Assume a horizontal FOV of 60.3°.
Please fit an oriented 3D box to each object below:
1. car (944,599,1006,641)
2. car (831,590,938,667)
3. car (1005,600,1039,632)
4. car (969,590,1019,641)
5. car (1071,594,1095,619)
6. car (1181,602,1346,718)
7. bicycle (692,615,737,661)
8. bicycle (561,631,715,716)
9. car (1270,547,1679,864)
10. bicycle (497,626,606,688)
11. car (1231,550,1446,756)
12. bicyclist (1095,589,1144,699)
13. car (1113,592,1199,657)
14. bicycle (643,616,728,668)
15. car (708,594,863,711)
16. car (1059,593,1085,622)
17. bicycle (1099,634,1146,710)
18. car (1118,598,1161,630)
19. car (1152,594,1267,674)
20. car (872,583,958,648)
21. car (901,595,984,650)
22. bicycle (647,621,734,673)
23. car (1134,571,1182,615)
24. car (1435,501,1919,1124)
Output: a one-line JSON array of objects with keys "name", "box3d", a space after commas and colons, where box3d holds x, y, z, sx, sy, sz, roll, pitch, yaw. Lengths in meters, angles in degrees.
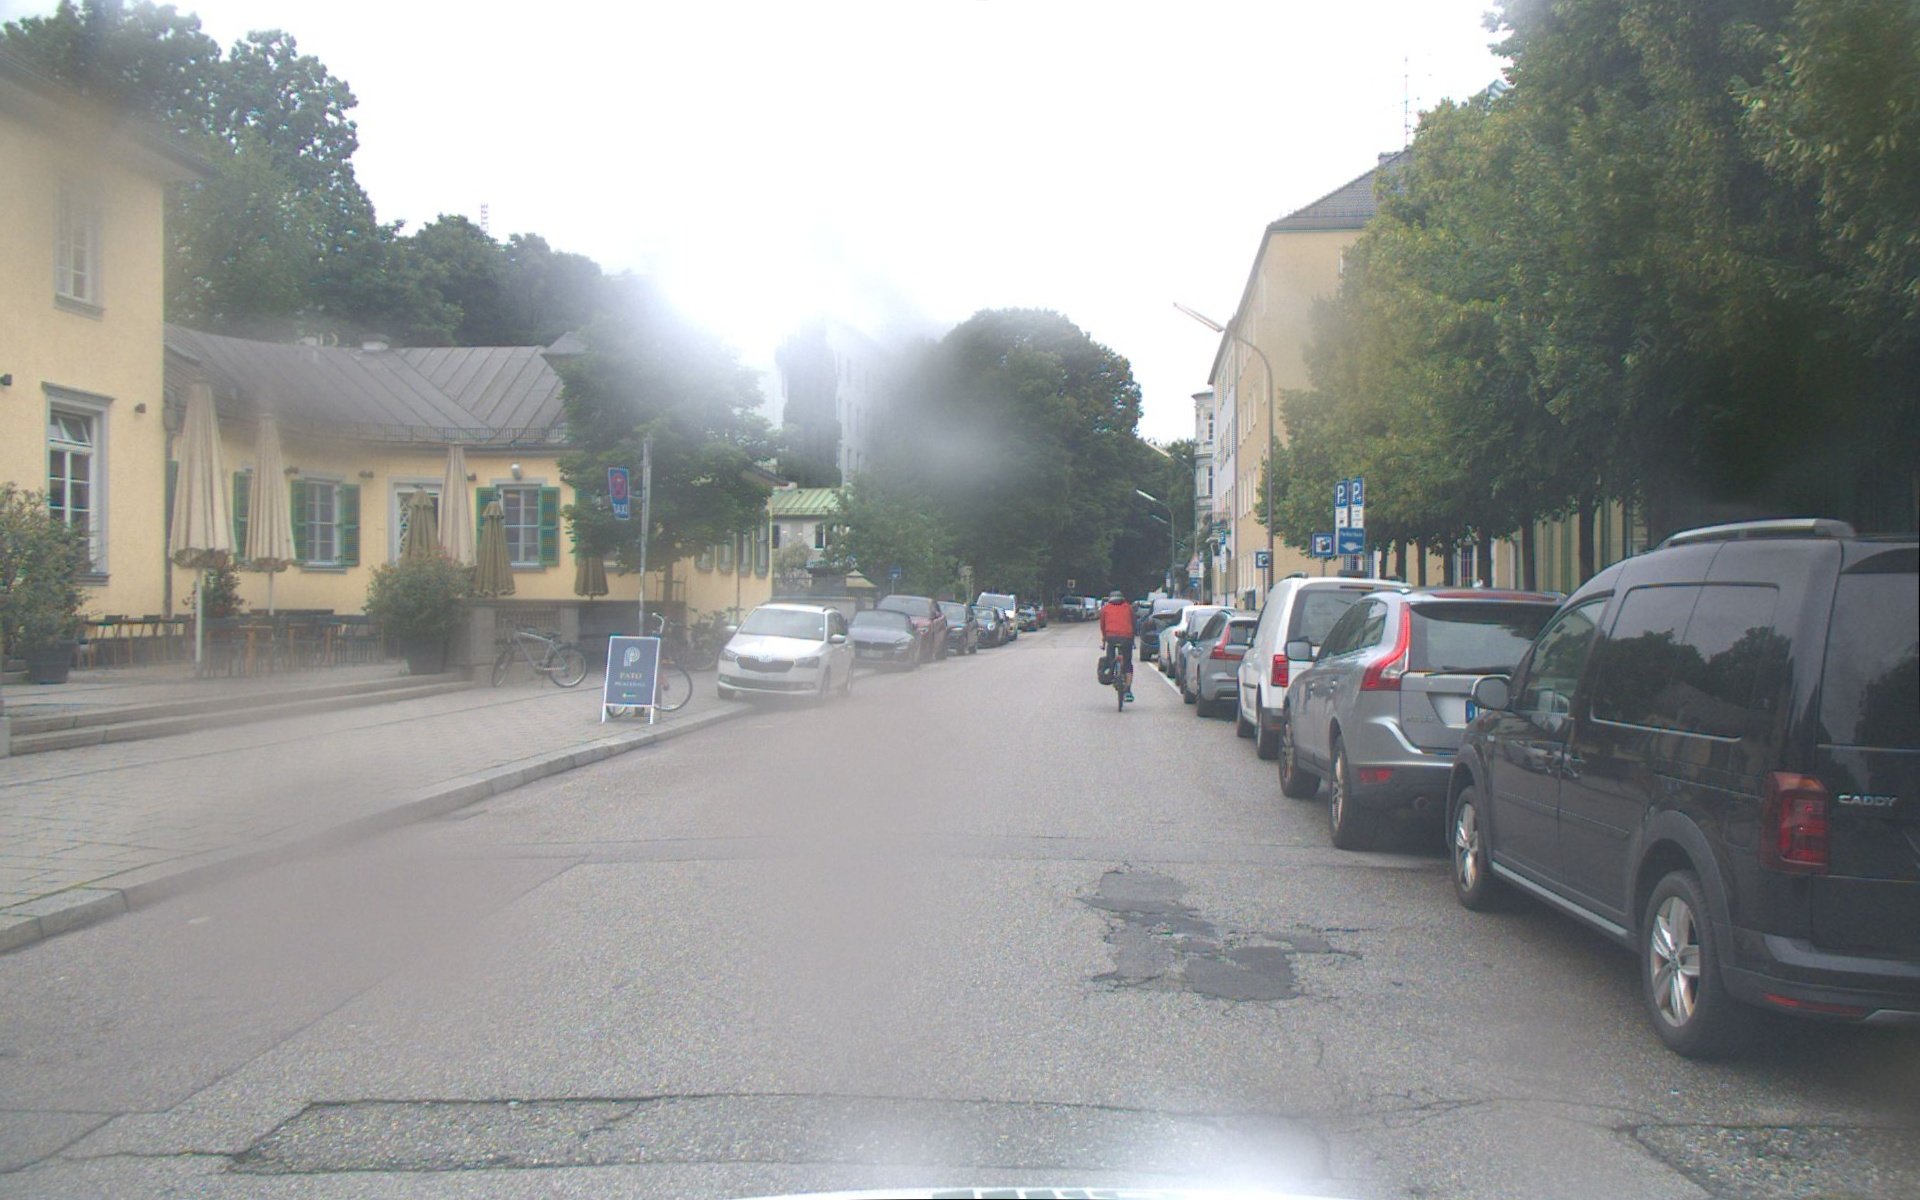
[{"name": "car", "box3d": [0.594, 0.712, 61.548, 1.951, 1.512, 4.003, 0, 0, 6]}, {"name": "car", "box3d": [-1.694, 0.619, 38.661, 1.951, 1.677, 4.658, 0, 0, 4]}, {"name": "car", "box3d": [3.492, 0.891, 92.833, 1.772, 1.712, 4.002, 0, 0, 4]}, {"name": "car", "box3d": [1.474, 0.618, 70.112, 1.952, 2.116, 4.002, 0, 0, 4]}, {"name": "car", "box3d": [10.577, 0.585, 141.907, 1.951, 2.049, 4.002, 3, -1, 5]}, {"name": "car", "box3d": [4.210, 0.779, 23.549, 1.824, 1.465, 4.257, 1, 0, 4]}, {"name": "bicycle", "box3d": [-5.614, 0.869, 37.897, 0.608, 1.022, 1.620, 0, -1, 7]}, {"name": "bicycle", "box3d": [-4.174, 0.929, 21.614, 0.611, 1.021, 2.133, 3, 1, 34]}, {"name": "car", "box3d": [3.392, 0.595, 11.826, 1.824, 1.825, 4.512, 0, 0, 4]}, {"name": "bicycle", "box3d": [-6.426, 0.886, 25.998, 1.592, 0.942, 0.647, 0, -2, -23]}, {"name": "car", "box3d": [3.982, 0.496, 18.020, 1.713, 1.977, 4.230, 0, 0, 5]}, {"name": "bicyclist", "box3d": [2.254, 0.626, 23.440, 0.657, 1.524, 1.095, 0, -2, 4]}, {"name": "car", "box3d": [5.178, 0.611, 44.067, 1.952, 1.646, 4.001, 1, 0, 2]}, {"name": "bicycle", "box3d": [-5.641, 0.860, 34.014, 1.599, 1.022, 0.616, -1, -1, -34]}, {"name": "car", "box3d": [-2.667, 0.763, 26.090, 1.697, 1.609, 3.789, 3, 0, 4]}, {"name": "car", "box3d": [8.815, 0.543, 130.412, 1.952, 2.135, 4.002, 3, 0, 4]}, {"name": "bicycle", "box3d": [2.281, 0.994, 23.363, 0.608, 1.022, 2.141, 0, -1, 4]}, {"name": "car", "box3d": [9.337, 0.708, 86.223, 1.952, 1.579, 4.001, 1, 0, 2]}, {"name": "car", "box3d": [5.219, 0.675, 35.042, 1.952, 1.579, 4.001, 1, 0, 2]}, {"name": "car", "box3d": [-1.131, 0.422, 43.722, 1.952, 1.631, 4.001, 0, -1, 3]}, {"name": "car", "box3d": [-0.486, 0.650, 50.694, 1.951, 1.512, 4.003, 2, 1, 7]}, {"name": "bicycle", "box3d": [-5.328, 0.921, 32.713, 1.592, 1.022, 0.619, 0, -2, -23]}, {"name": "car", "box3d": [9.616, -0.340, 80.591, 1.952, 2.096, 4.625, 1, 0, 2]}, {"name": "car", "box3d": [3.423, 0.634, 6.997, 1.724, 1.855, 4.140, 1, 0, 2]}]
